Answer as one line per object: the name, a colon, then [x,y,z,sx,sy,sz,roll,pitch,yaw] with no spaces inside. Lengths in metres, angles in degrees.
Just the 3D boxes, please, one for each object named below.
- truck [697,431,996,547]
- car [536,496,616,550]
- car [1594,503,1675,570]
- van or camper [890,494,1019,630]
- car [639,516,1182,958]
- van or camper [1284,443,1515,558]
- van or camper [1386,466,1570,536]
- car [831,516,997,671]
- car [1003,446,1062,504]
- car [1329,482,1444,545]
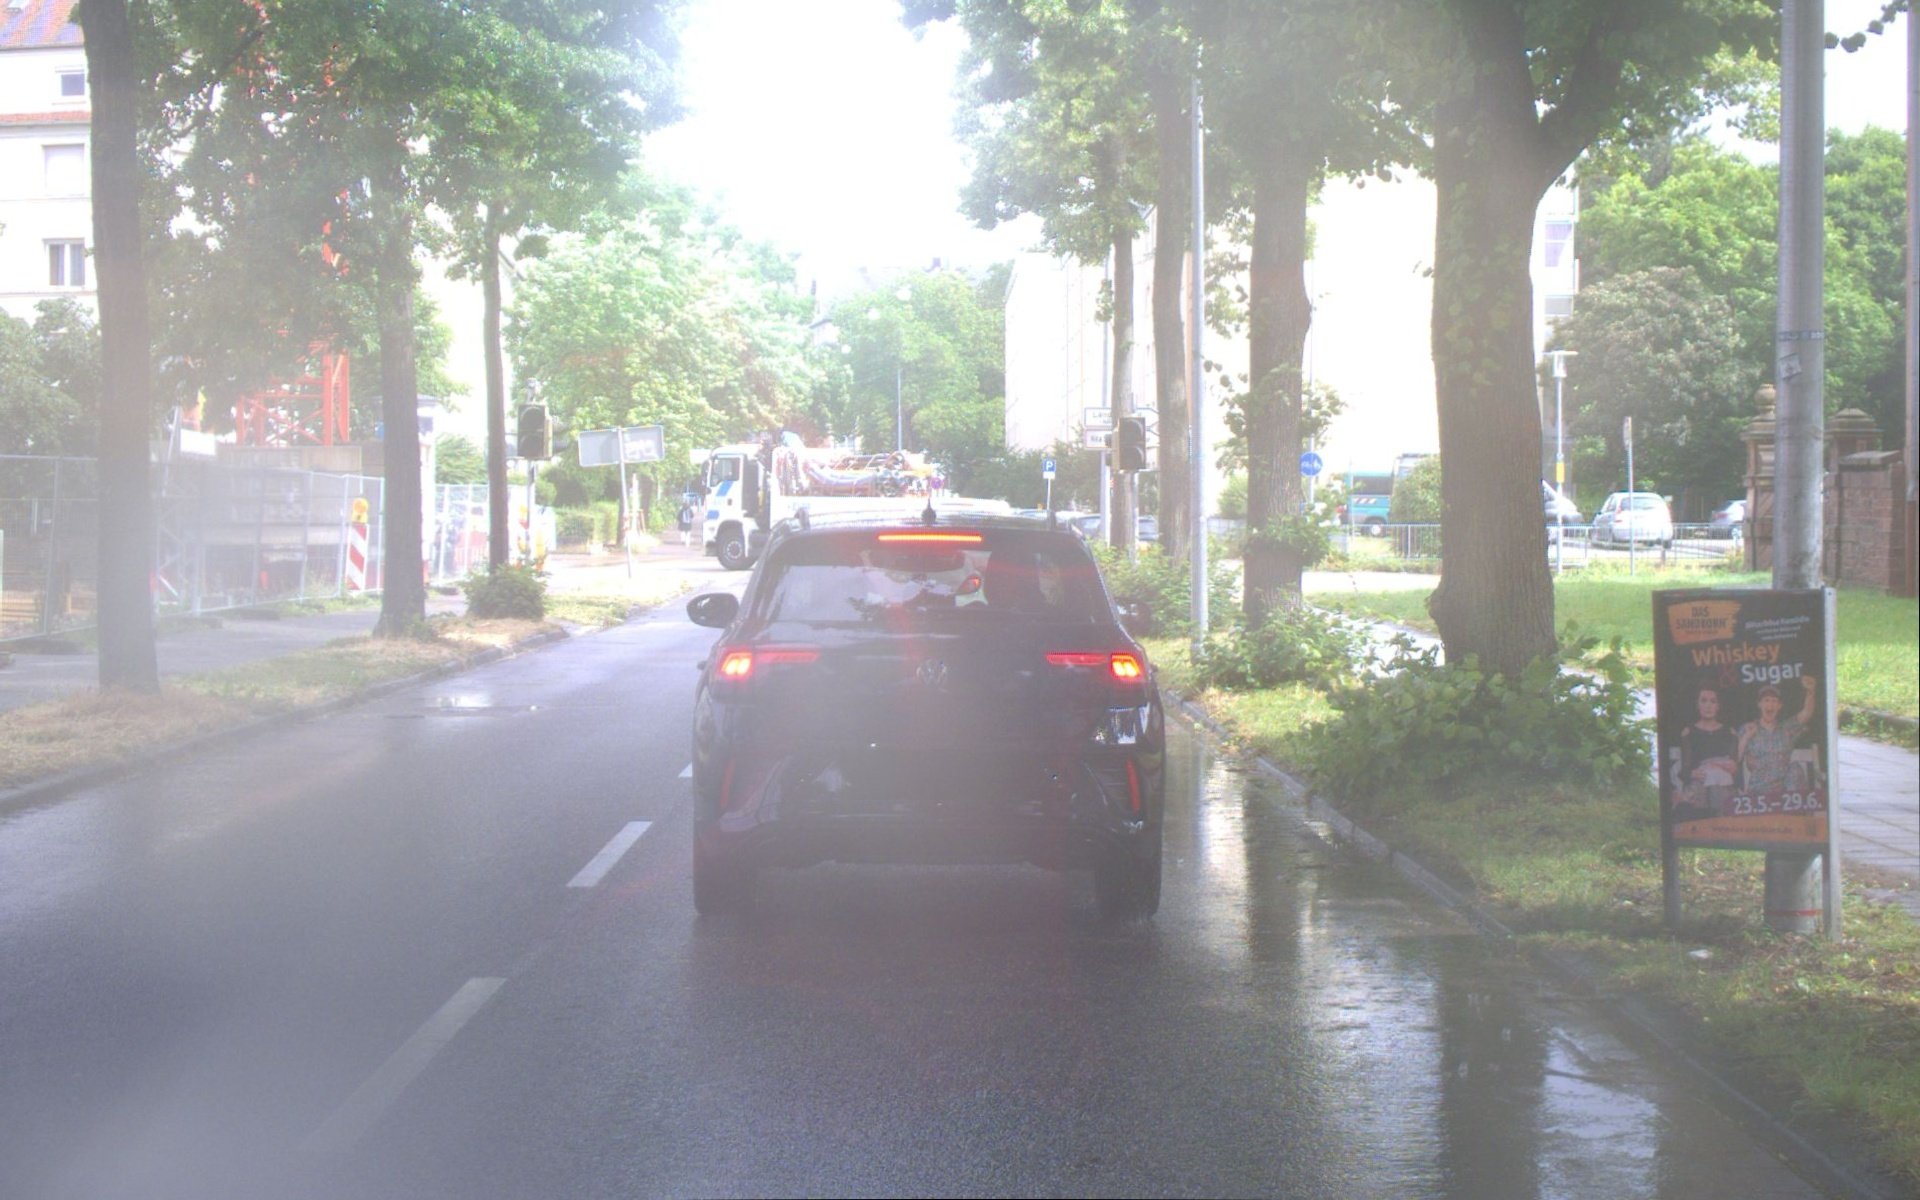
truck: [-2.836,-2.733,83.002,2.806,2.647,8.239,-1,3,-39]
car: [-11.556,-2.337,103.691,1.591,1.507,3.731,-3,2,6]
car: [18.272,-1.731,93.274,1.743,1.678,3.870,-3,1,6]
van or camper: [-0.045,-0.620,52.041,1.819,1.941,4.195,1,2,1]
car: [-0.197,0.433,14.085,1.894,1.517,4.001,1,2,-1]
van or camper: [10.173,-2.306,79.816,5.032,2.587,2.168,-1,1,-1]
van or camper: [14.634,-2.819,97.294,4.875,1.919,2.131,1,2,1]
car: [-0.506,-0.108,41.218,1.680,1.702,3.909,-2,1,3]
car: [2.636,-4.539,125.507,1.993,2.007,4.000,1,1,0]
car: [13.323,-2.710,107.347,3.408,1.775,1.759,-3,1,9]
